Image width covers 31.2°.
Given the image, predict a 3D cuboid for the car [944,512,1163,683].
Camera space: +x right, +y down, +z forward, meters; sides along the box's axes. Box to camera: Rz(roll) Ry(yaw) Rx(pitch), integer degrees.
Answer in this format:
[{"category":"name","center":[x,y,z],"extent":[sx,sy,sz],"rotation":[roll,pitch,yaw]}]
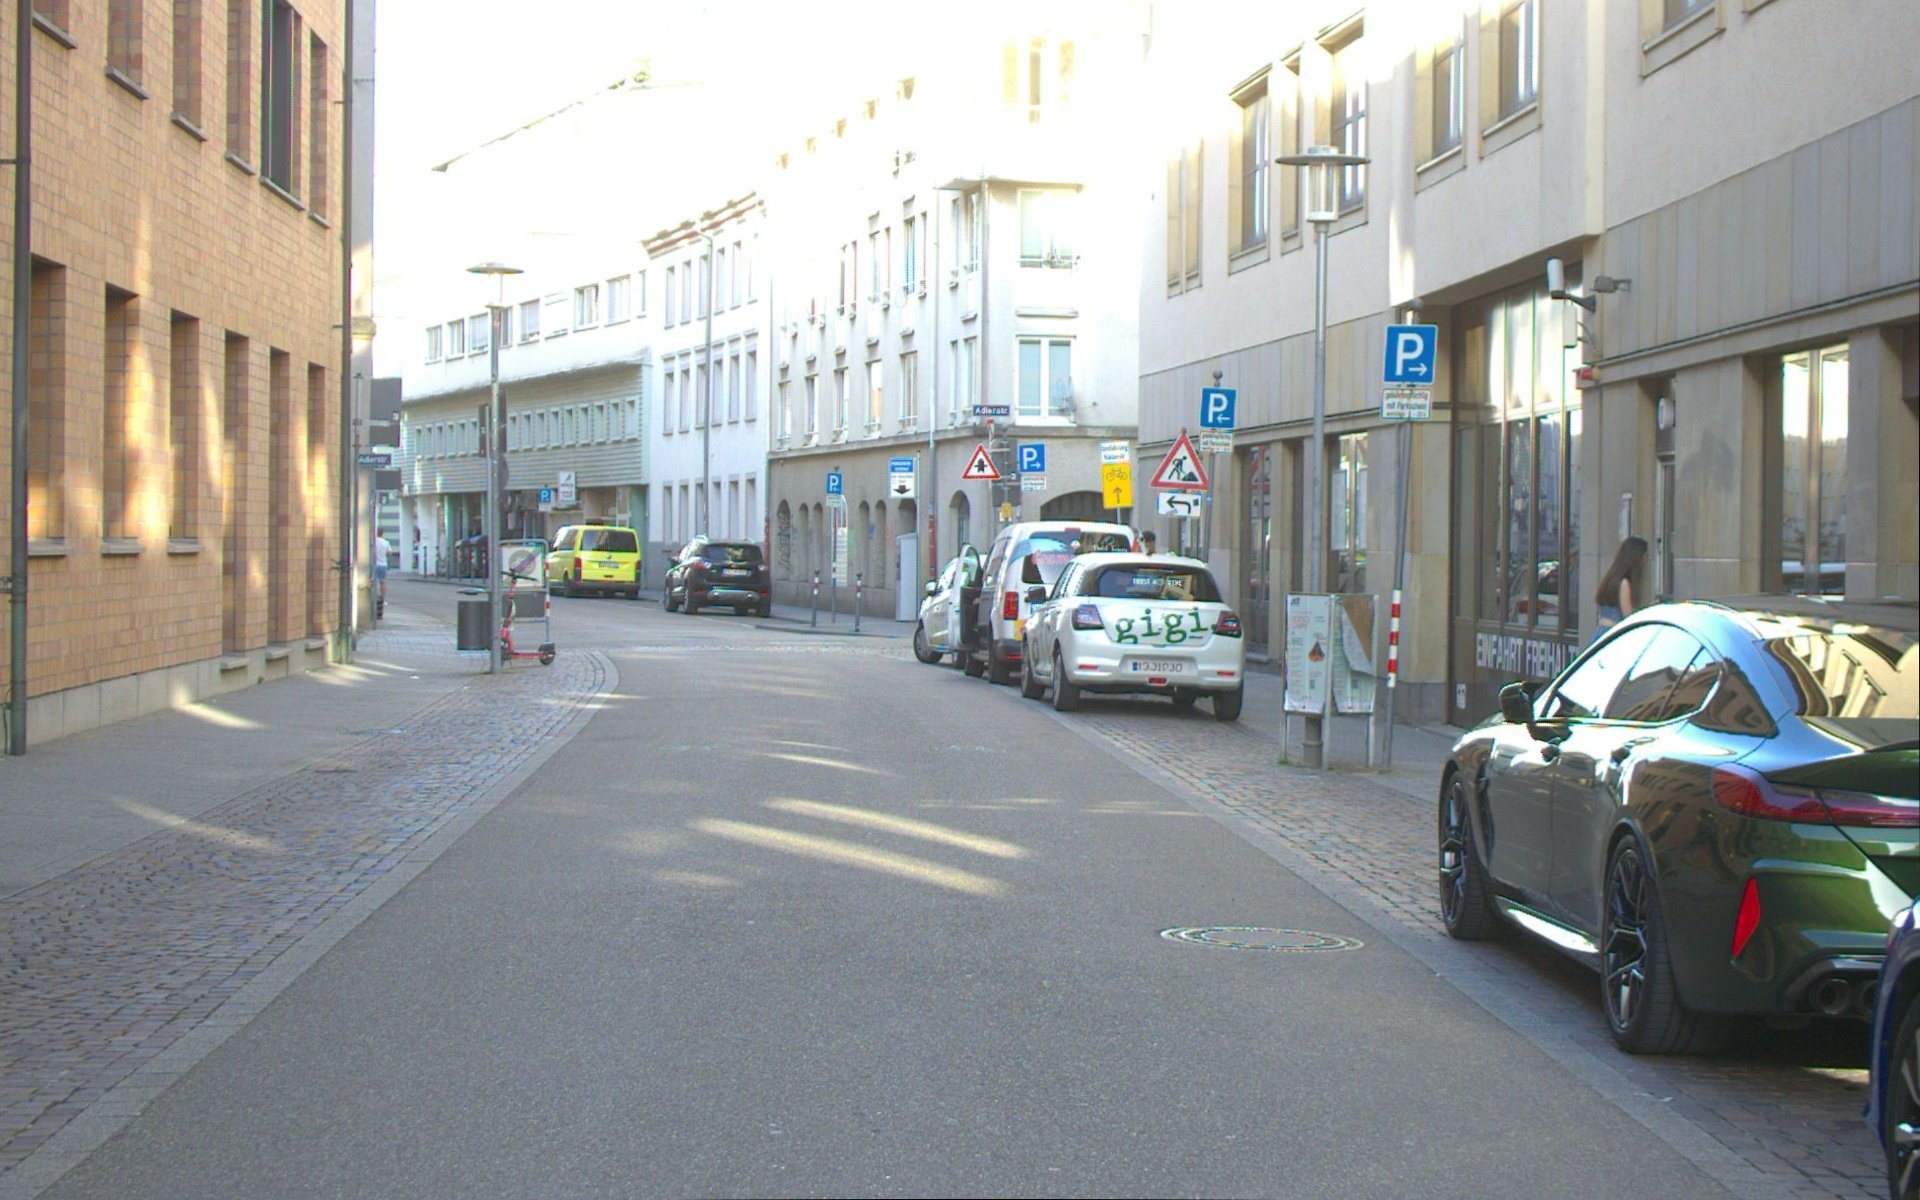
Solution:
[{"category":"car","center":[0.994,-0.071,39.396],"extent":[1.830,1.785,5.215],"rotation":[1,1,-6]}]

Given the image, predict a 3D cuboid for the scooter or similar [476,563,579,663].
[{"category":"scooter or similar","center":[-5.416,0.154,43.113],"extent":[0.698,1.213,1.355],"rotation":[0,1,22]}]

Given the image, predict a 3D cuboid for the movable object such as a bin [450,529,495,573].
[{"category":"movable object such as a bin","center":[-16.502,-1.659,116.417],"extent":[1.131,1.474,1.740],"rotation":[0,1,-21]}]

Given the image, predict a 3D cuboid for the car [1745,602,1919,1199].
[{"category":"car","center":[2.931,0.801,6.011],"extent":[1.807,1.408,4.791],"rotation":[3,1,-2]}]

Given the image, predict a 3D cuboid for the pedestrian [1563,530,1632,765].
[{"category":"pedestrian","center":[4.522,0.330,24.391],"extent":[0.481,1.648,0.538],"rotation":[0,1,10]}]

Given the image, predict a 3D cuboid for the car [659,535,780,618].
[{"category":"car","center":[-5.267,-0.538,74.947],"extent":[1.967,1.686,4.102],"rotation":[2,1,-13]}]

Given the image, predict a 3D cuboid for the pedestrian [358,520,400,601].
[{"category":"pedestrian","center":[-12.535,-0.858,74.167],"extent":[0.765,1.718,0.687],"rotation":[0,1,-19]}]

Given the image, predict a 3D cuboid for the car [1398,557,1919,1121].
[{"category":"car","center":[2.873,0.631,11.836],"extent":[1.894,1.448,5.226],"rotation":[2,1,-1]}]

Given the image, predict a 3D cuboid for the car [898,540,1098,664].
[{"category":"car","center":[0.449,-0.008,45.317],"extent":[1.888,1.513,4.064],"rotation":[1,1,-10]}]

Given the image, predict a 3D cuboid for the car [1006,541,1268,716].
[{"category":"car","center":[1.626,0.227,33.123],"extent":[1.840,1.473,4.169],"rotation":[3,1,-6]}]

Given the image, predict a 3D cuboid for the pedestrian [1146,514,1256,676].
[{"category":"pedestrian","center":[2.715,-0.060,38.895],"extent":[1.042,1.795,1.199],"rotation":[1,0,-5]}]

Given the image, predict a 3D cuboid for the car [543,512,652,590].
[{"category":"car","center":[-9.605,-1.310,90.836],"extent":[2.052,2.007,4.176],"rotation":[0,1,-18]}]
